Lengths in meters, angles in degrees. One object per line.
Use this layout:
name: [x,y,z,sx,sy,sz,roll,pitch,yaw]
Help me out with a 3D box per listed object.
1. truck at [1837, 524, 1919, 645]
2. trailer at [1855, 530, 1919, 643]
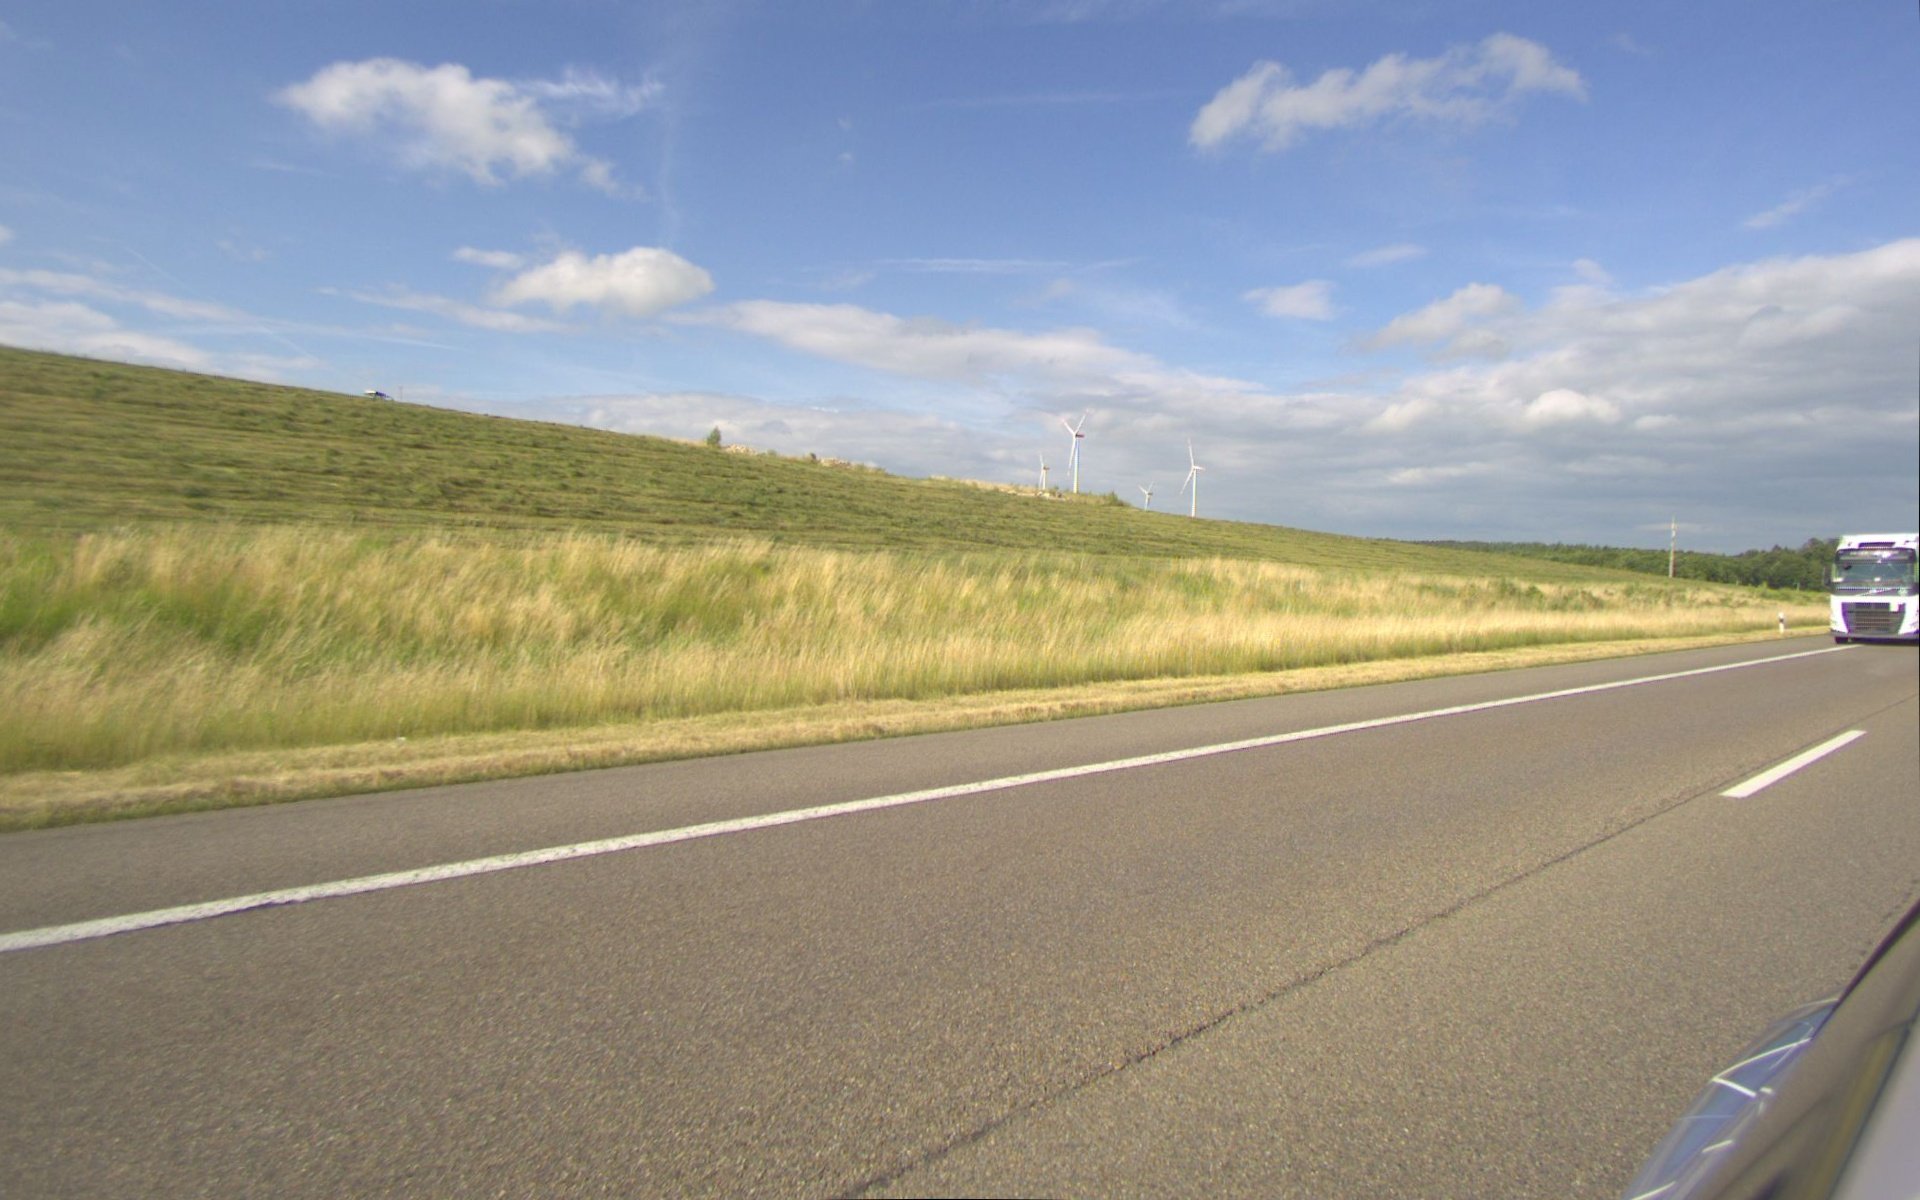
truck: [34.177,-0.498,36.773,6.011,4.092,2.605,1,-1,-40]
trailer: [39.812,-0.444,41.608,13.456,4.092,2.621,1,-1,-41]
